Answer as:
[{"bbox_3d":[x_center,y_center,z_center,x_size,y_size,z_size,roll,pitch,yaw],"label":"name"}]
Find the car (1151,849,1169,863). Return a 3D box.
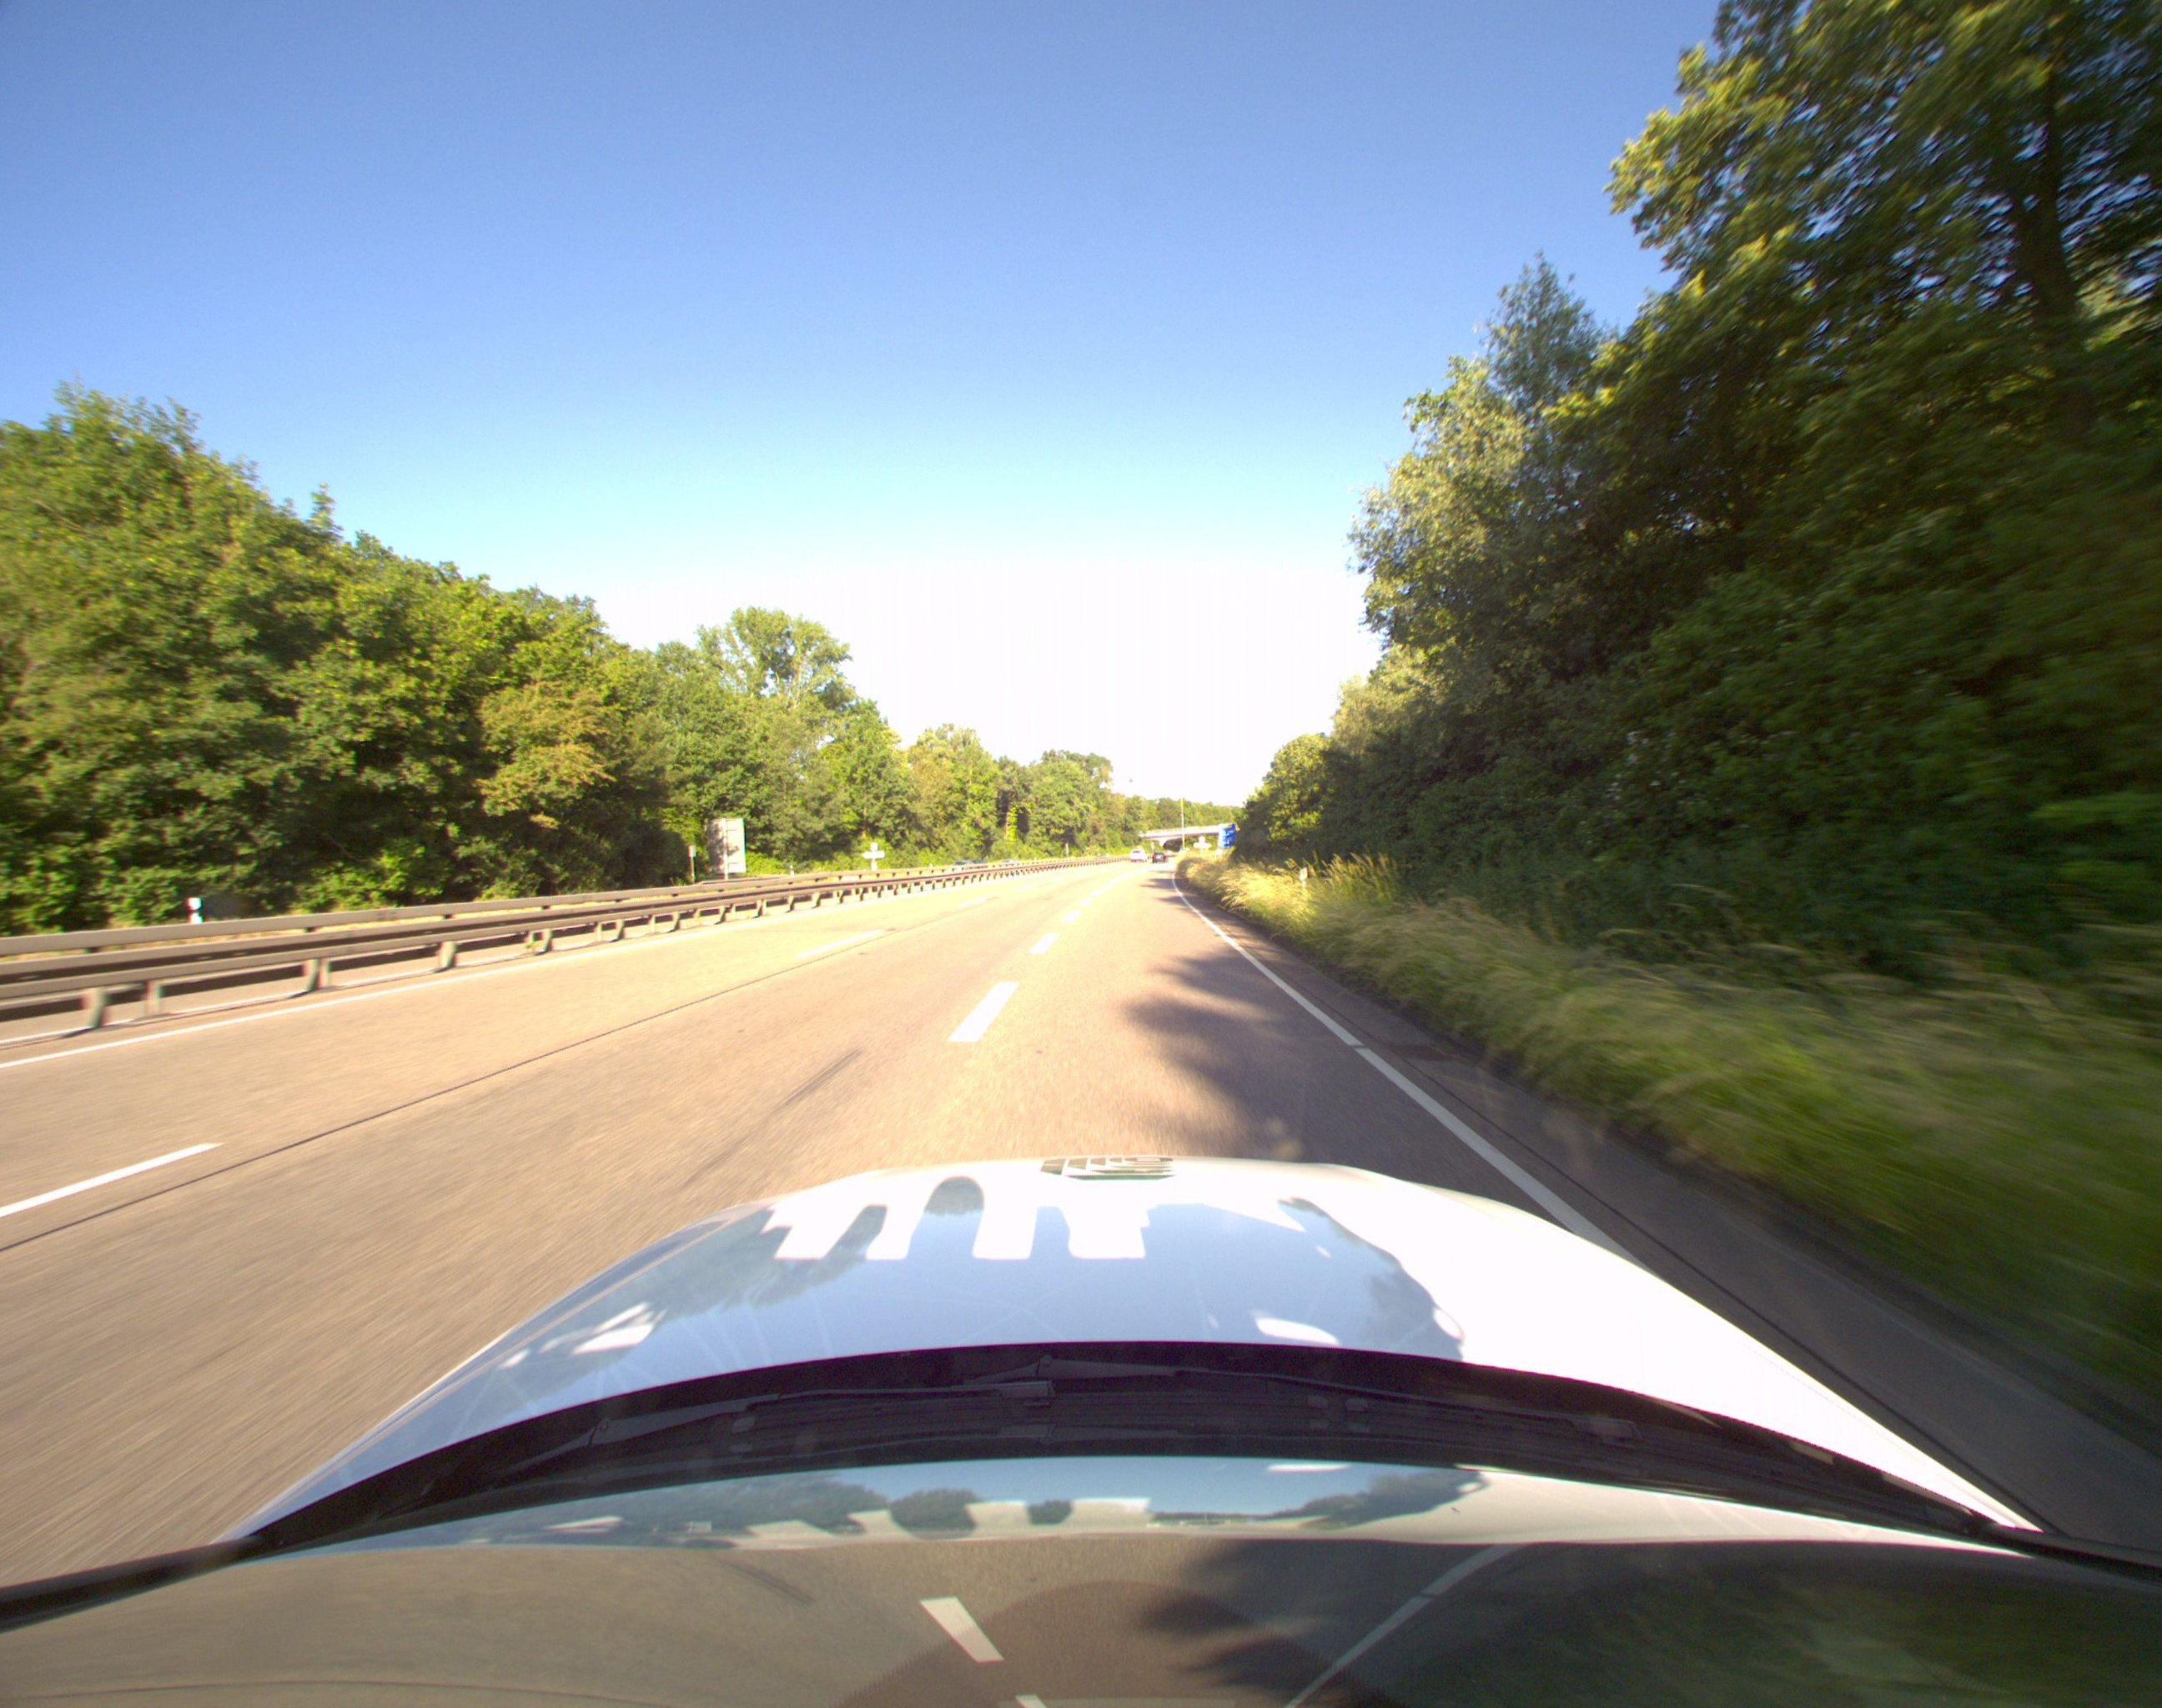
[{"bbox_3d":[10.350,0.239,107.016,1.727,1.662,3.960,-2,0,14],"label":"car"}]

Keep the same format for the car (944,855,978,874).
[{"bbox_3d":[-11.410,0.978,77.935,1.982,1.649,4.433,-2,0,8],"label":"car"}]

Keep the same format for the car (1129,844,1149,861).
[{"bbox_3d":[8.165,-0.263,114.487,1.979,2.277,4.016,-2,0,15],"label":"car"}]
